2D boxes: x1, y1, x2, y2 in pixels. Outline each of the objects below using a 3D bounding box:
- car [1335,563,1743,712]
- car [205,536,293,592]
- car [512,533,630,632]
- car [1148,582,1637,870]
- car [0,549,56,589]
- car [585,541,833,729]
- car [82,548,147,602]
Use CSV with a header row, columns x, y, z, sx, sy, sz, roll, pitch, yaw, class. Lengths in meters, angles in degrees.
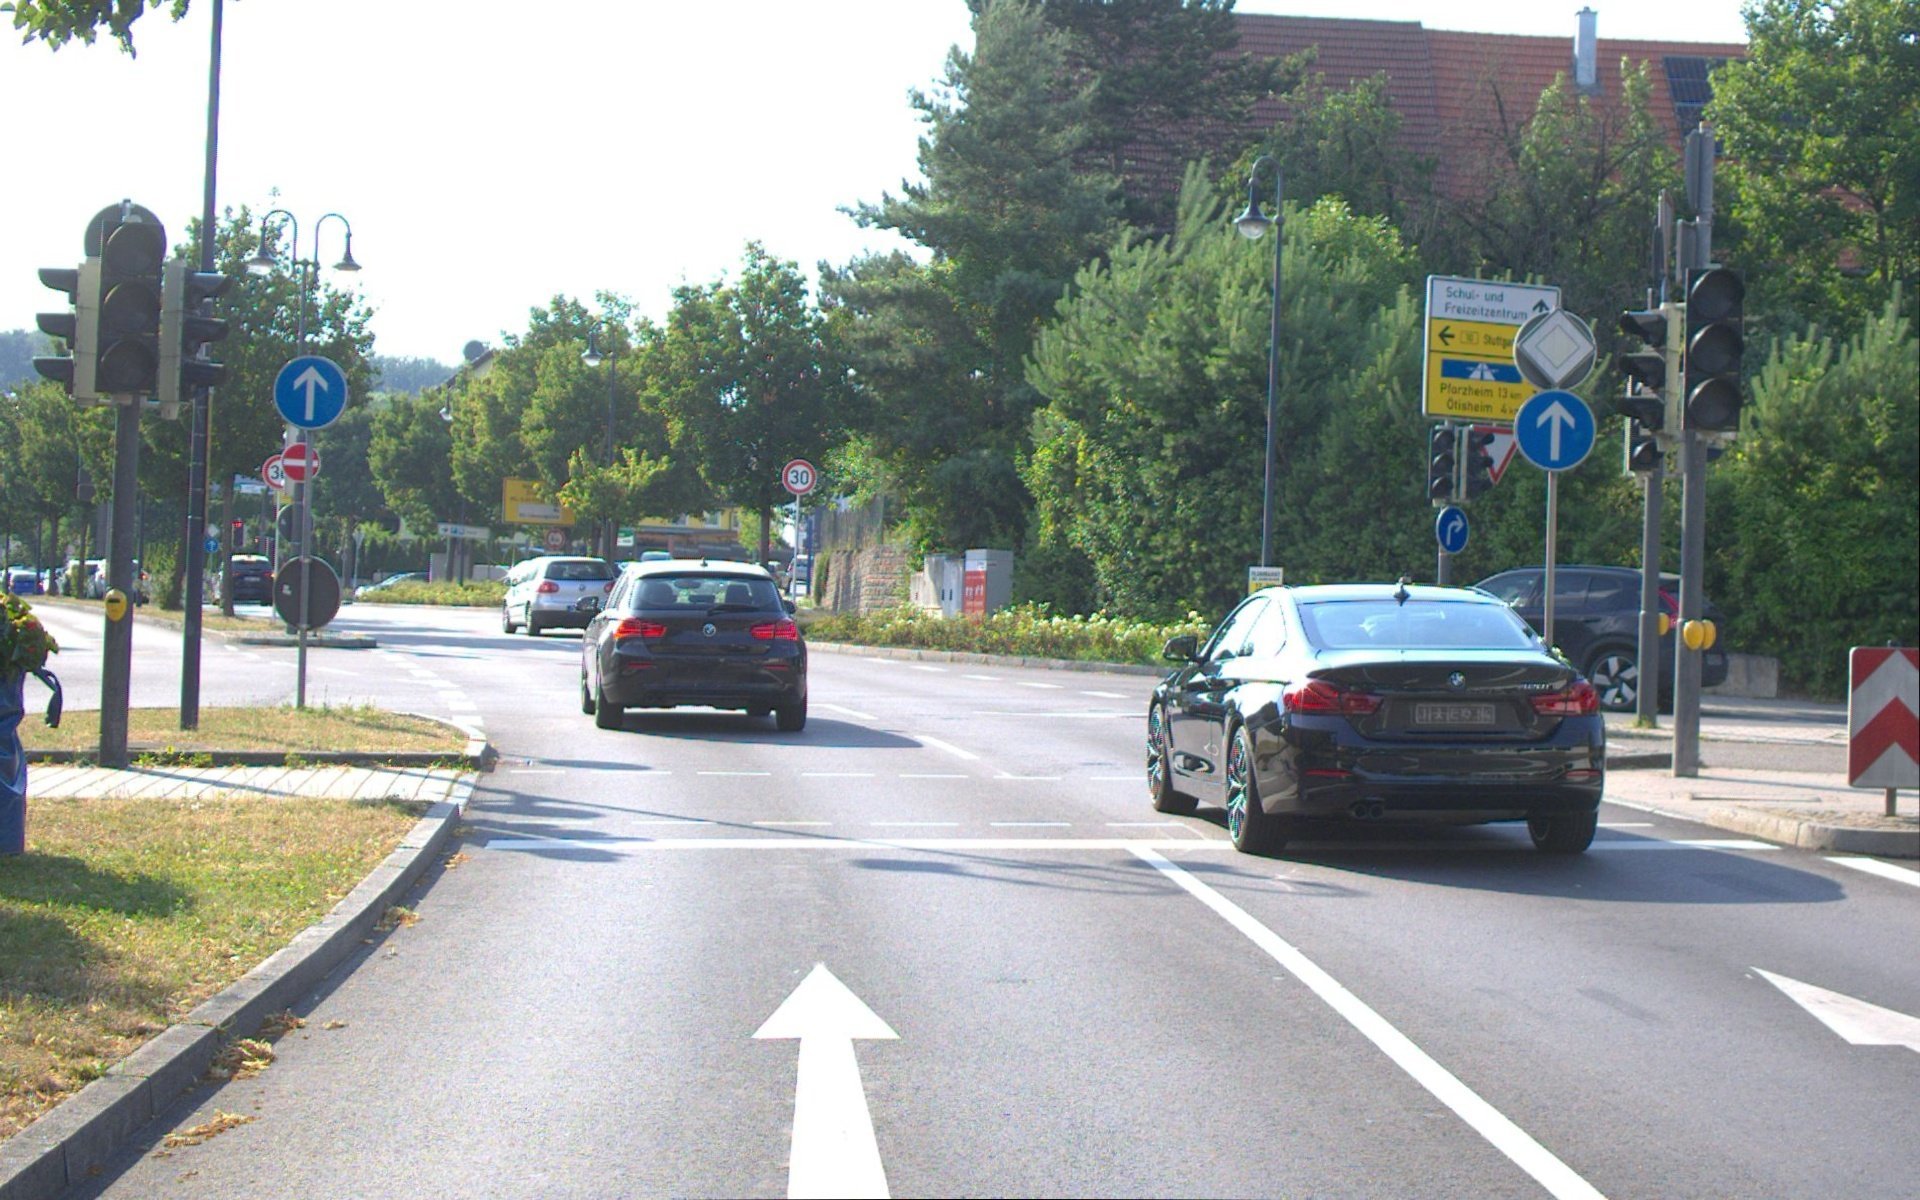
x,y,z,sx,sy,sz,roll,pitch,yaw,class
6.680,0.399,39.786,4.265,1.561,1.789,2,1,33,car
-23.346,-1.186,112.834,2.216,1.763,4.455,1,1,-19,car
-7.289,-0.341,64.124,1.924,1.763,4.455,1,1,-10,car
2.203,0.595,18.722,1.920,1.359,4.353,1,0,-2,car
-42.699,-1.431,157.216,2.216,1.763,4.455,1,1,-19,car
-2.125,0.270,30.186,1.721,1.485,4.353,2,0,1,car
-28.804,-0.864,117.028,1.755,1.763,3.972,1,1,-19,car
